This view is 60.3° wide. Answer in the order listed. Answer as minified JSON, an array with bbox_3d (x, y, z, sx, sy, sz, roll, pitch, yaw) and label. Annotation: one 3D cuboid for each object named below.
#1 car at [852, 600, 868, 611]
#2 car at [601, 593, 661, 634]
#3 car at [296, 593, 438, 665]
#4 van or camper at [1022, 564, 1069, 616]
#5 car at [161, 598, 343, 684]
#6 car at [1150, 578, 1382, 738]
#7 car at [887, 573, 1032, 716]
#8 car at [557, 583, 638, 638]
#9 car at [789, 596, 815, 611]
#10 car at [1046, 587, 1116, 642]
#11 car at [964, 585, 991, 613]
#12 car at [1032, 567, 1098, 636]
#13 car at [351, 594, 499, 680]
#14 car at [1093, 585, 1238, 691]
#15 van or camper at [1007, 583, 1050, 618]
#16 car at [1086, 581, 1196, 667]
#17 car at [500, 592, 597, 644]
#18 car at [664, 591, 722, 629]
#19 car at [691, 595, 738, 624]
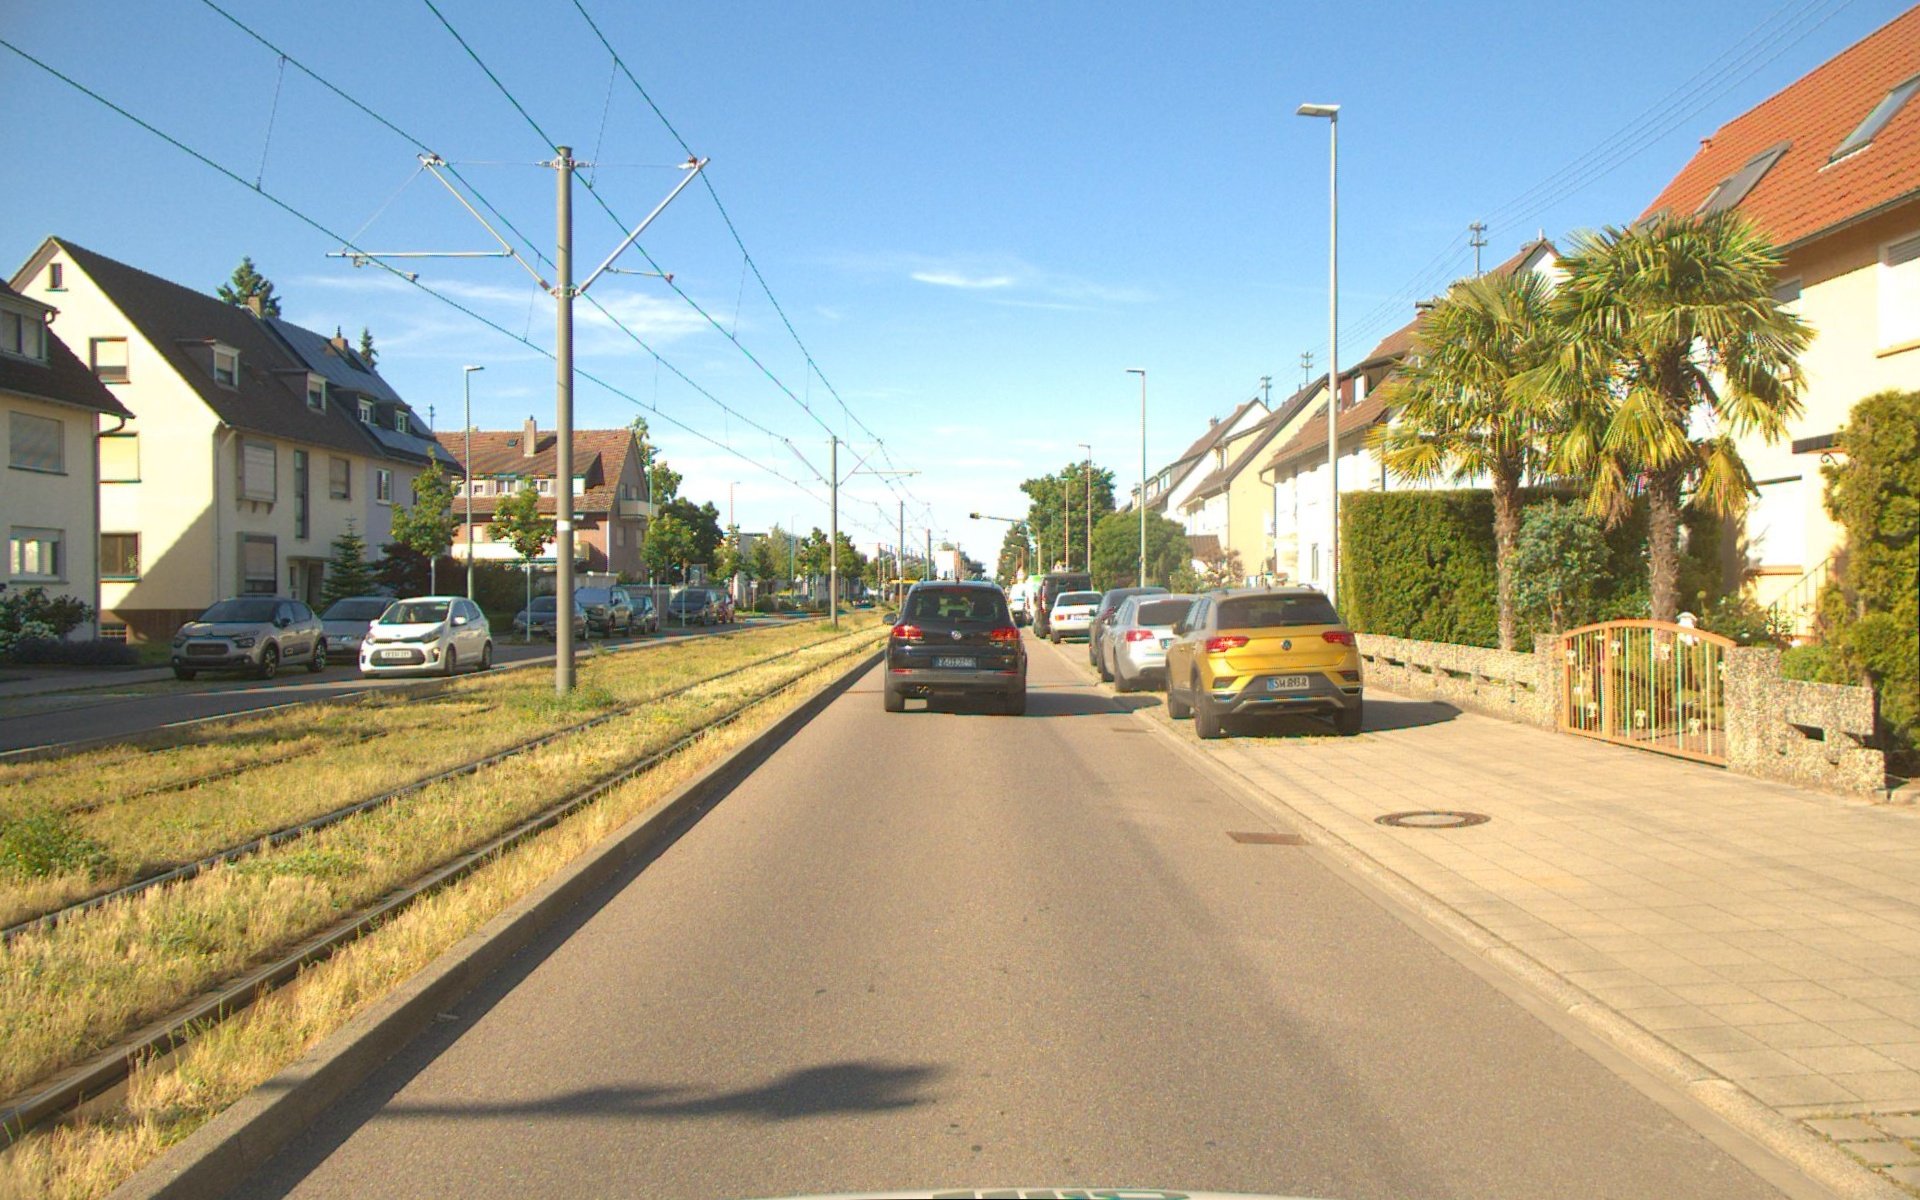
[{"bbox_3d":[-13.773,0.725,228.017,1.653,1.413,4.389,-2,0,3],"label":"car"},{"bbox_3d":[-13.087,0.517,65.949,1.642,1.517,4.049,1,0,-1],"label":"car"},{"bbox_3d":[-13.419,0.633,37.699,1.654,1.501,4.442,1,0,-1],"label":"car"},{"bbox_3d":[4.007,-0.444,78.455,1.952,2.310,6.305,-2,0,1],"label":"van or camper"},{"bbox_3d":[-13.445,0.734,31.700,1.654,1.498,4.314,1,0,-1],"label":"car"},{"bbox_3d":[3.397,0.594,19.298,1.768,1.586,4.926,-1,0,0],"label":"car"},{"bbox_3d":[-0.033,0.541,22.053,1.739,1.699,3.999,1,0,-1],"label":"car"},{"bbox_3d":[-13.088,0.364,59.964,1.709,1.855,4.842,1,0,1],"label":"car"},{"bbox_3d":[-15.694,0.374,164.922,1.772,1.486,4.320,1,0,5],"label":"car"},{"bbox_3d":[3.536,0.383,49.279,1.814,1.469,5.615,-2,0,2],"label":"car"},{"bbox_3d":[1.170,-0.104,113.234,1.595,1.860,4.128,-1,0,-3],"label":"car"},{"bbox_3d":[3.491,0.045,55.902,1.919,2.181,5.336,-1,0,1],"label":"car"},{"bbox_3d":[-10.162,0.676,31.664,1.654,1.501,3.679,-1,0,-1],"label":"car"},{"bbox_3d":[3.217,0.544,26.685,1.712,1.472,4.699,-1,1,0],"label":"car"},{"bbox_3d":[4.136,0.014,99.068,1.984,1.990,5.299,-1,0,9],"label":"van or camper"},{"bbox_3d":[3.441,0.424,32.188,1.740,1.525,4.729,-1,0,1],"label":"car"},{"bbox_3d":[-13.325,0.577,53.839,1.920,1.567,4.557,1,0,1],"label":"car"},{"bbox_3d":[-12.686,0.445,78.849,1.782,1.714,4.847,2,0,1],"label":"car"},{"bbox_3d":[-12.568,0.467,84.904,1.660,1.429,4.079,-1,0,2],"label":"car"}]
